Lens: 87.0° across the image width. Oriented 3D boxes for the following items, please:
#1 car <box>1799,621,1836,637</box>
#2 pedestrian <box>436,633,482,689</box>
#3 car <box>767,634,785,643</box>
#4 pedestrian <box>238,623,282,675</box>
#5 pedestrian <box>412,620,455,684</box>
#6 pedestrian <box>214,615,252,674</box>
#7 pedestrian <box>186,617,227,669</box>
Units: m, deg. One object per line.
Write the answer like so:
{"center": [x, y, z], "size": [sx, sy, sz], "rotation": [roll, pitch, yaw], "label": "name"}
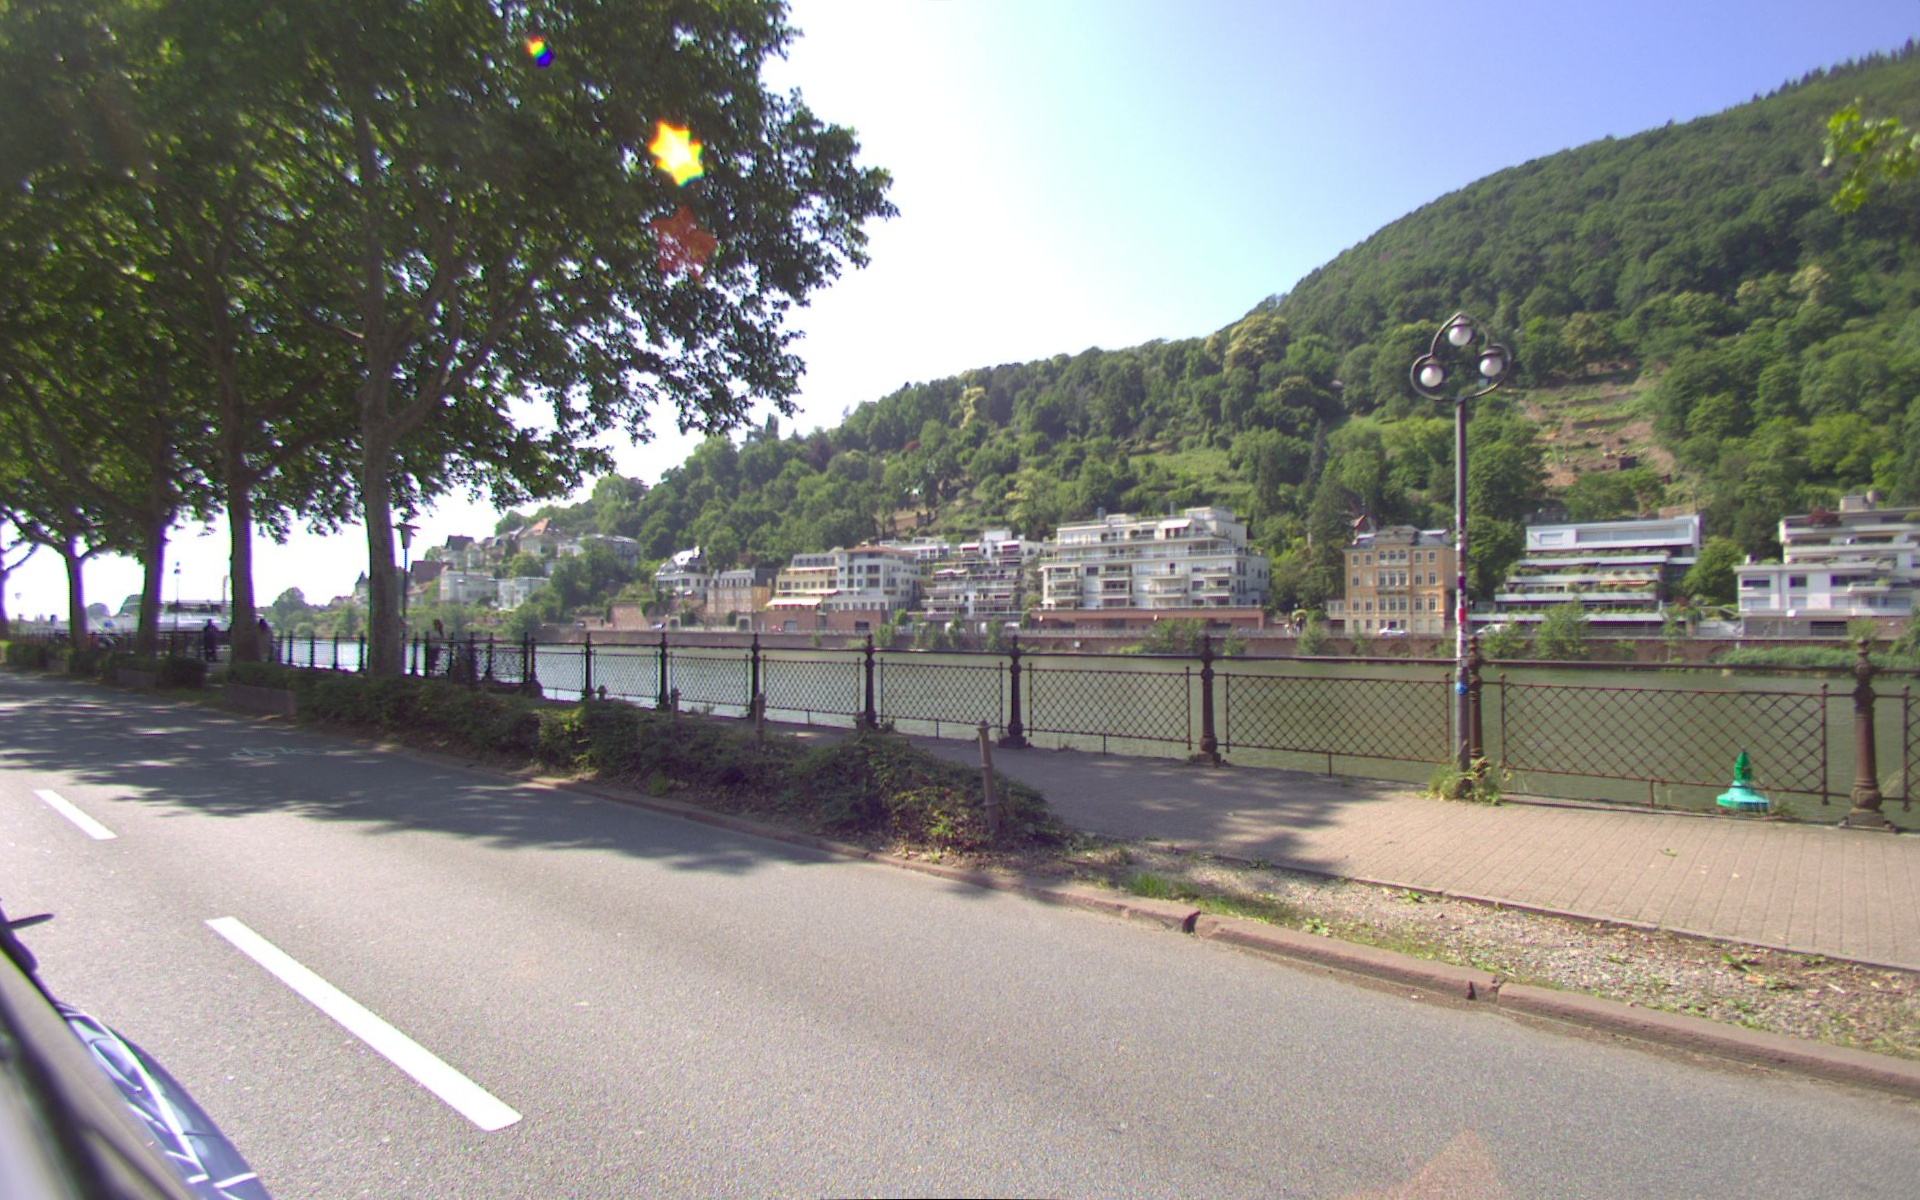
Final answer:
{"center": [125.268, 4.231, 147.943], "size": [3.998, 2.029, 1.973], "rotation": [-4, -2, 41], "label": "car"}
{"center": [-12.757, 1.549, 25.780], "size": [0.770, 1.398, 0.758], "rotation": [-2, -3, 40], "label": "pedestrian"}
{"center": [-44.713, 9.419, 245.576], "size": [3.985, 2.029, 1.979], "rotation": [-1, 0, 31], "label": "car"}
{"center": [-22.798, 1.573, 32.955], "size": [1.057, 1.647, 0.887], "rotation": [-1, 0, 37], "label": "pedestrian"}
{"center": [-15.056, 1.482, 28.926], "size": [0.829, 1.771, 0.767], "rotation": [-2, -4, 40], "label": "pedestrian"}
{"center": [-23.413, 1.408, 32.589], "size": [0.928, 1.863, 0.796], "rotation": [-1, 0, 41], "label": "pedestrian"}
{"center": [-30.284, 1.727, 40.703], "size": [1.032, 2.029, 1.038], "rotation": [-1, 0, -19], "label": "pedestrian"}
